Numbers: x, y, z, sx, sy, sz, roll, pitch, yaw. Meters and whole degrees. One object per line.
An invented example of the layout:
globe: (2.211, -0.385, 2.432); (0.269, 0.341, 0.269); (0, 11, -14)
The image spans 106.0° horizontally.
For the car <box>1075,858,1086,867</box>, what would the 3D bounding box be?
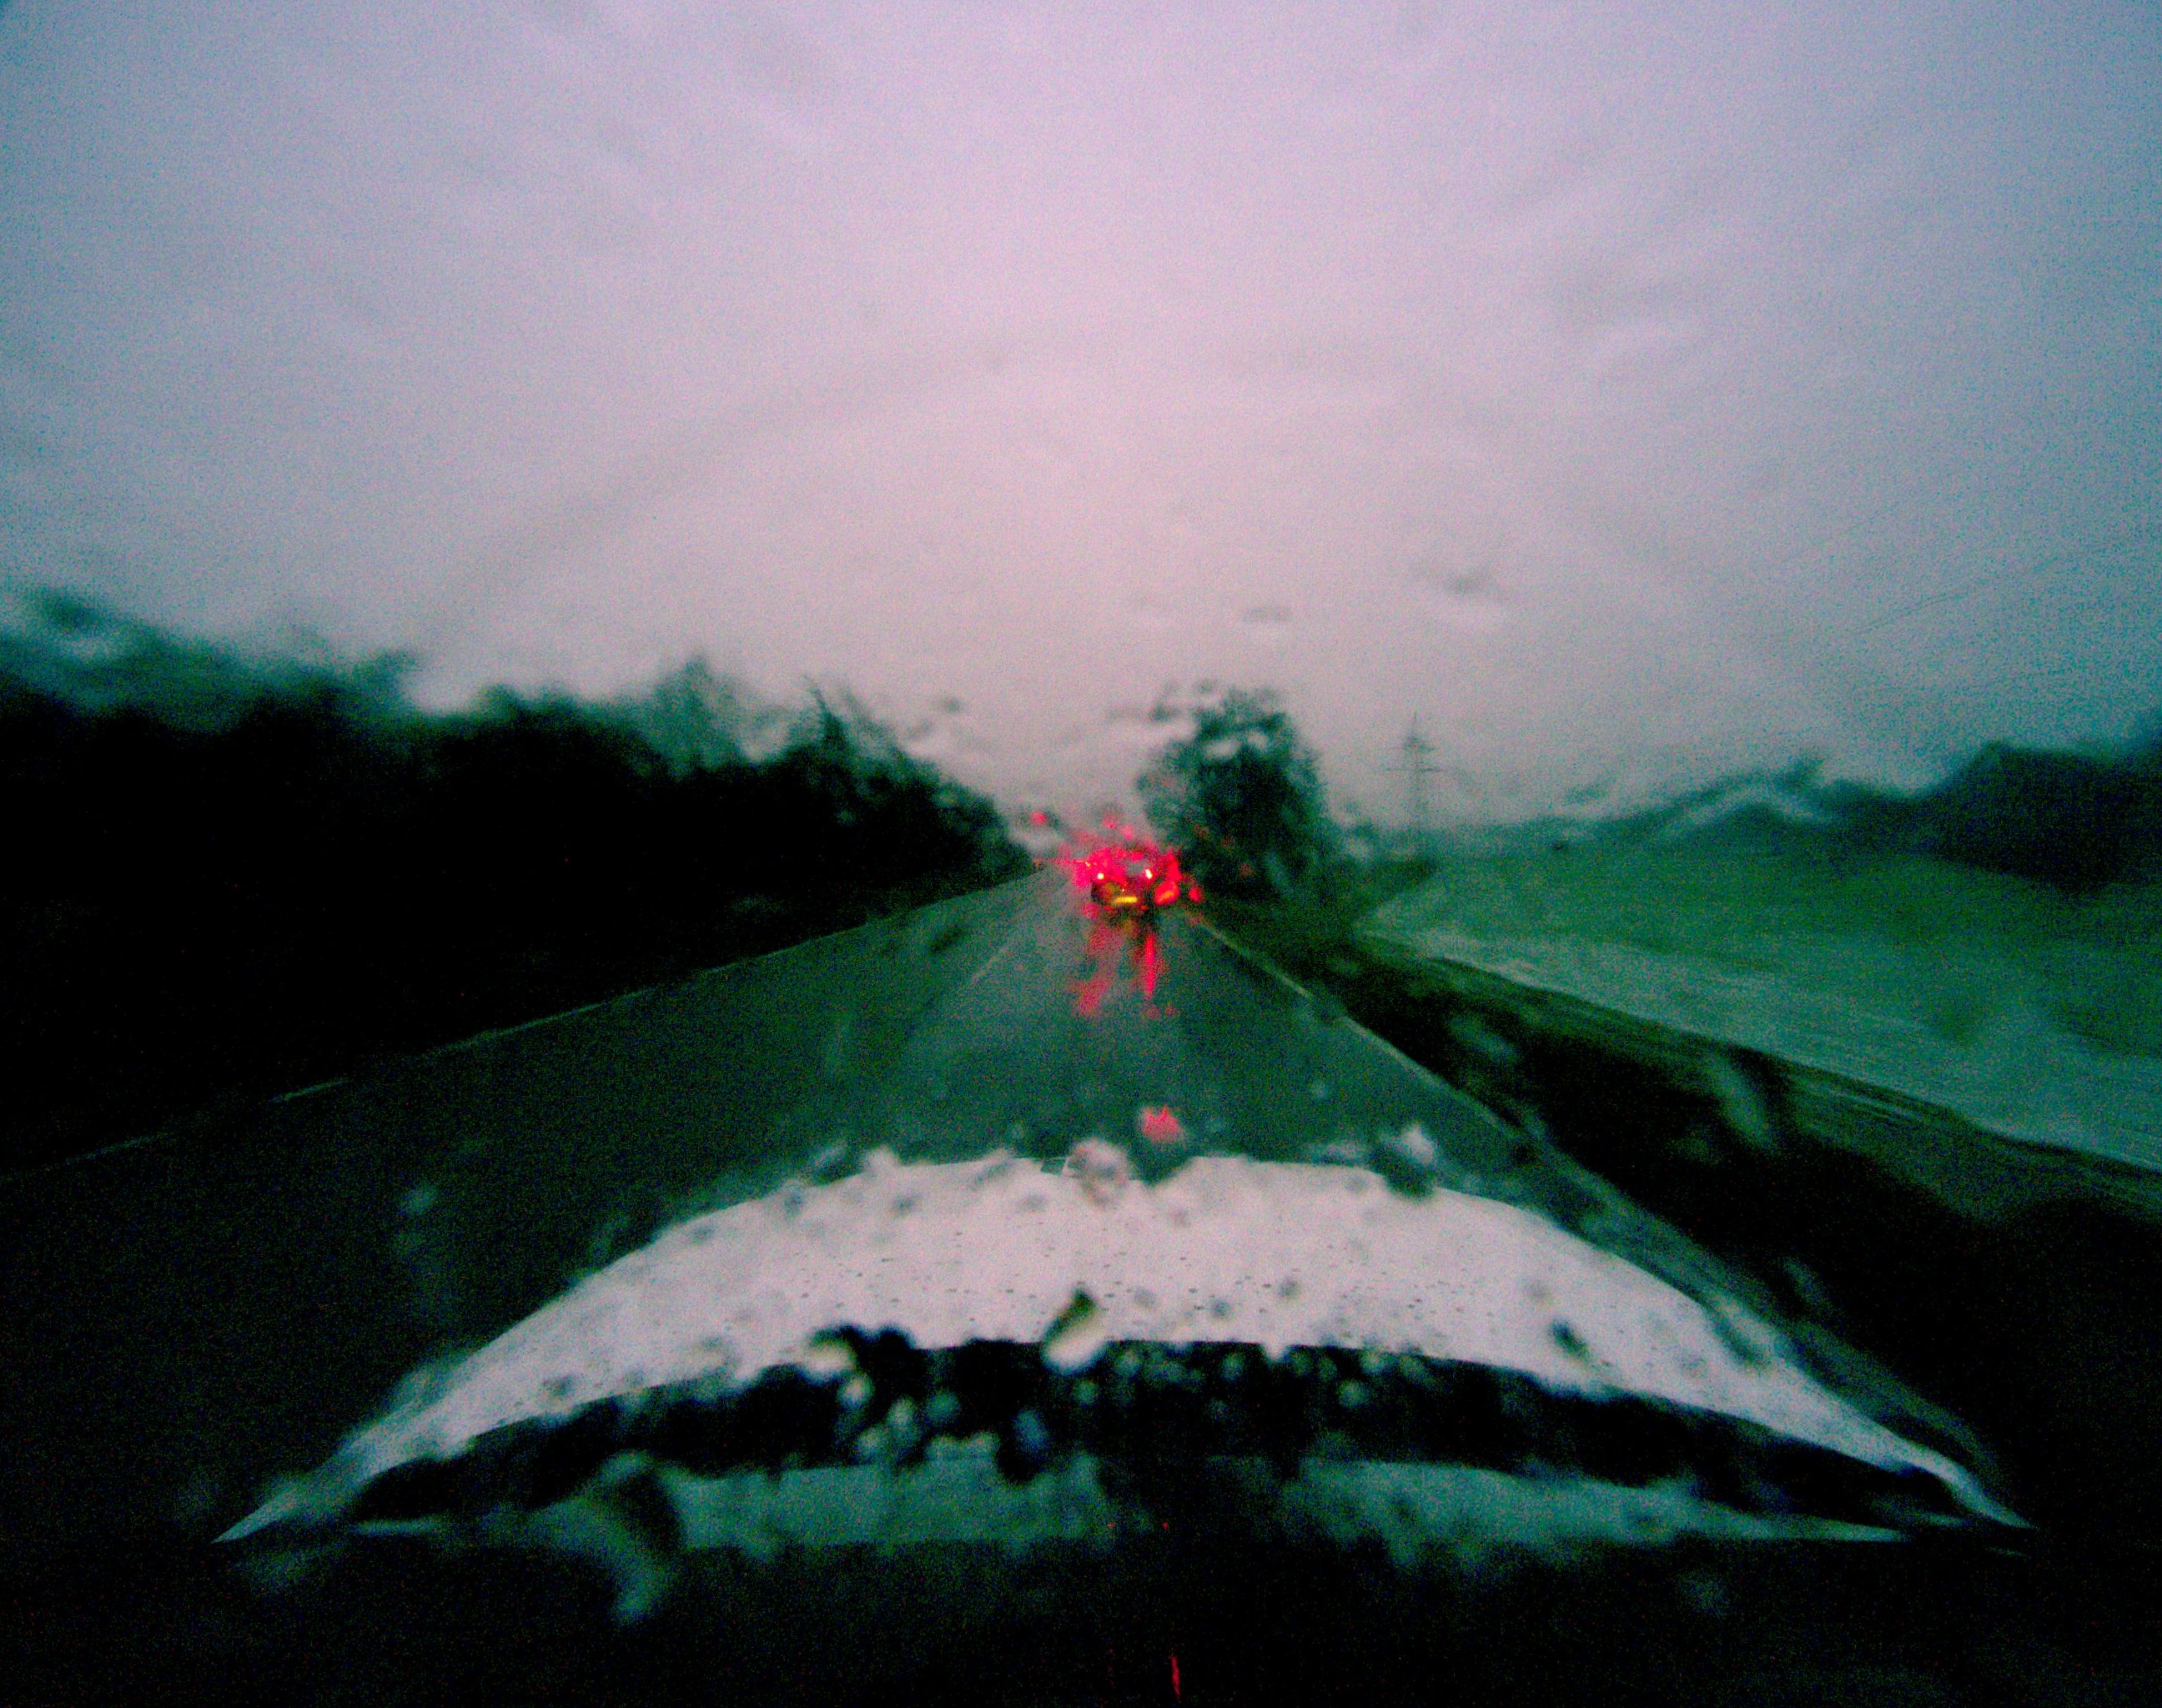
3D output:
car: (-0.086, 1.455, 140.198); (1.540, 1.397, 3.872); (0, 0, 3)

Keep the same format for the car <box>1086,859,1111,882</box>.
car: (1.177, 1.038, 52.490); (1.541, 1.397, 3.871); (0, 0, 2)

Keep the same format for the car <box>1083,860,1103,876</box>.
car: (1.052, 1.195, 71.928); (1.540, 1.397, 3.873); (0, 0, 4)

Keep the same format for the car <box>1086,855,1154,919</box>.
car: (1.091, 0.793, 21.322); (1.595, 1.522, 3.874); (0, 0, 5)
